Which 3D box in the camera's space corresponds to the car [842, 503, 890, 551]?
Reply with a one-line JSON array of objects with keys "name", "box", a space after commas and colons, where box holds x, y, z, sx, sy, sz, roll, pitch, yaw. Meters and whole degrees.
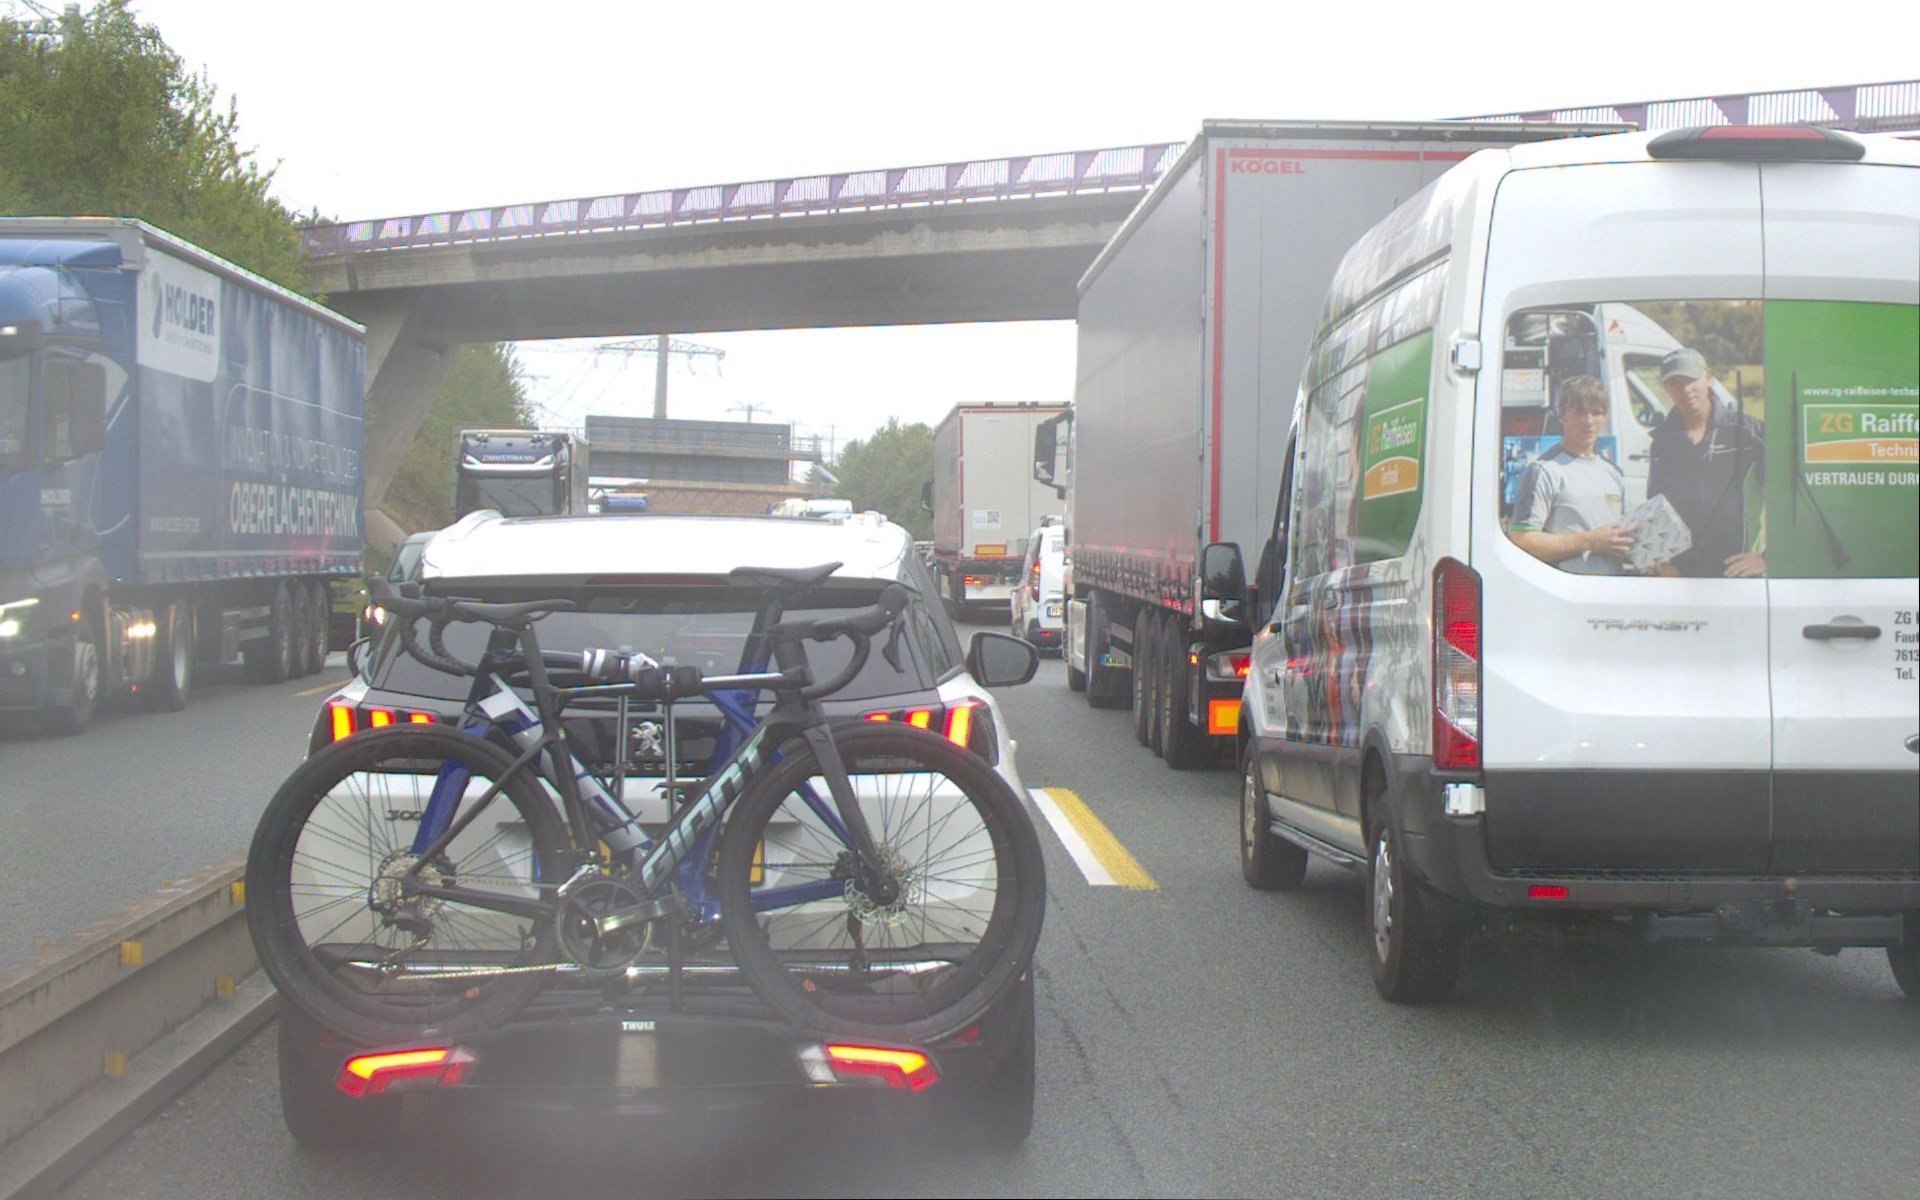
[{"name": "car", "box": [-4.035, -3.125, 147.785, 1.993, 2.007, 4.000, 1, 1, -1]}]

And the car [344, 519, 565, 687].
[{"name": "car", "box": [-5.116, 0.004, 35.271, 1.783, 1.604, 4.104, 1, 1, -2]}]

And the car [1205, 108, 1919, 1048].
[{"name": "car", "box": [2.278, -0.090, 12.881, 2.144, 2.667, 6.117, 1, 1, -1]}]

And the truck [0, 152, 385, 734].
[{"name": "truck", "box": [-8.050, -1.216, 32.742, 2.765, 4.109, 16.929, 1, 1, -2]}]

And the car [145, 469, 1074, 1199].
[{"name": "car", "box": [-0.679, 0.543, 9.069, 1.810, 1.632, 4.635, 1, 1, 0]}]

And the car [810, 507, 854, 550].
[{"name": "car", "box": [-6.202, -3.468, 166.772, 1.993, 2.007, 4.000, 1, 1, -1]}]

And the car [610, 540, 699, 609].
[{"name": "car", "box": [-6.920, -0.588, 78.134, 1.938, 1.489, 4.001, 1, 1, -4]}]

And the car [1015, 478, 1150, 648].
[{"name": "car", "box": [1.616, -0.502, 46.634, 1.670, 2.173, 4.535, 1, 1, 0]}]

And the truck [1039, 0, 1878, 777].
[{"name": "truck", "box": [3.066, -1.959, 29.640, 3.979, 5.654, 20.377, 1, 1, -1]}]

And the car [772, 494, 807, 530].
[{"name": "car", "box": [-10.429, -5.384, 210.612, 1.993, 2.119, 4.527, 1, 1, -1]}]

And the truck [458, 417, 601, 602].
[{"name": "truck", "box": [-10.164, -2.085, 82.022, 2.464, 4.109, 10.089, 1, 1, -2]}]

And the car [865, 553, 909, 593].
[{"name": "car", "box": [-2.776, -1.047, 130.863, 1.638, 1.492, 3.666, 1, 1, -1]}]

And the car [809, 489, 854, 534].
[{"name": "car", "box": [-6.706, -4.611, 179.871, 2.239, 2.299, 4.572, 1, 1, -1]}]

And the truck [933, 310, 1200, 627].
[{"name": "truck", "box": [1.974, -2.470, 72.075, 4.743, 5.654, 20.376, 1, 1, 0]}]
